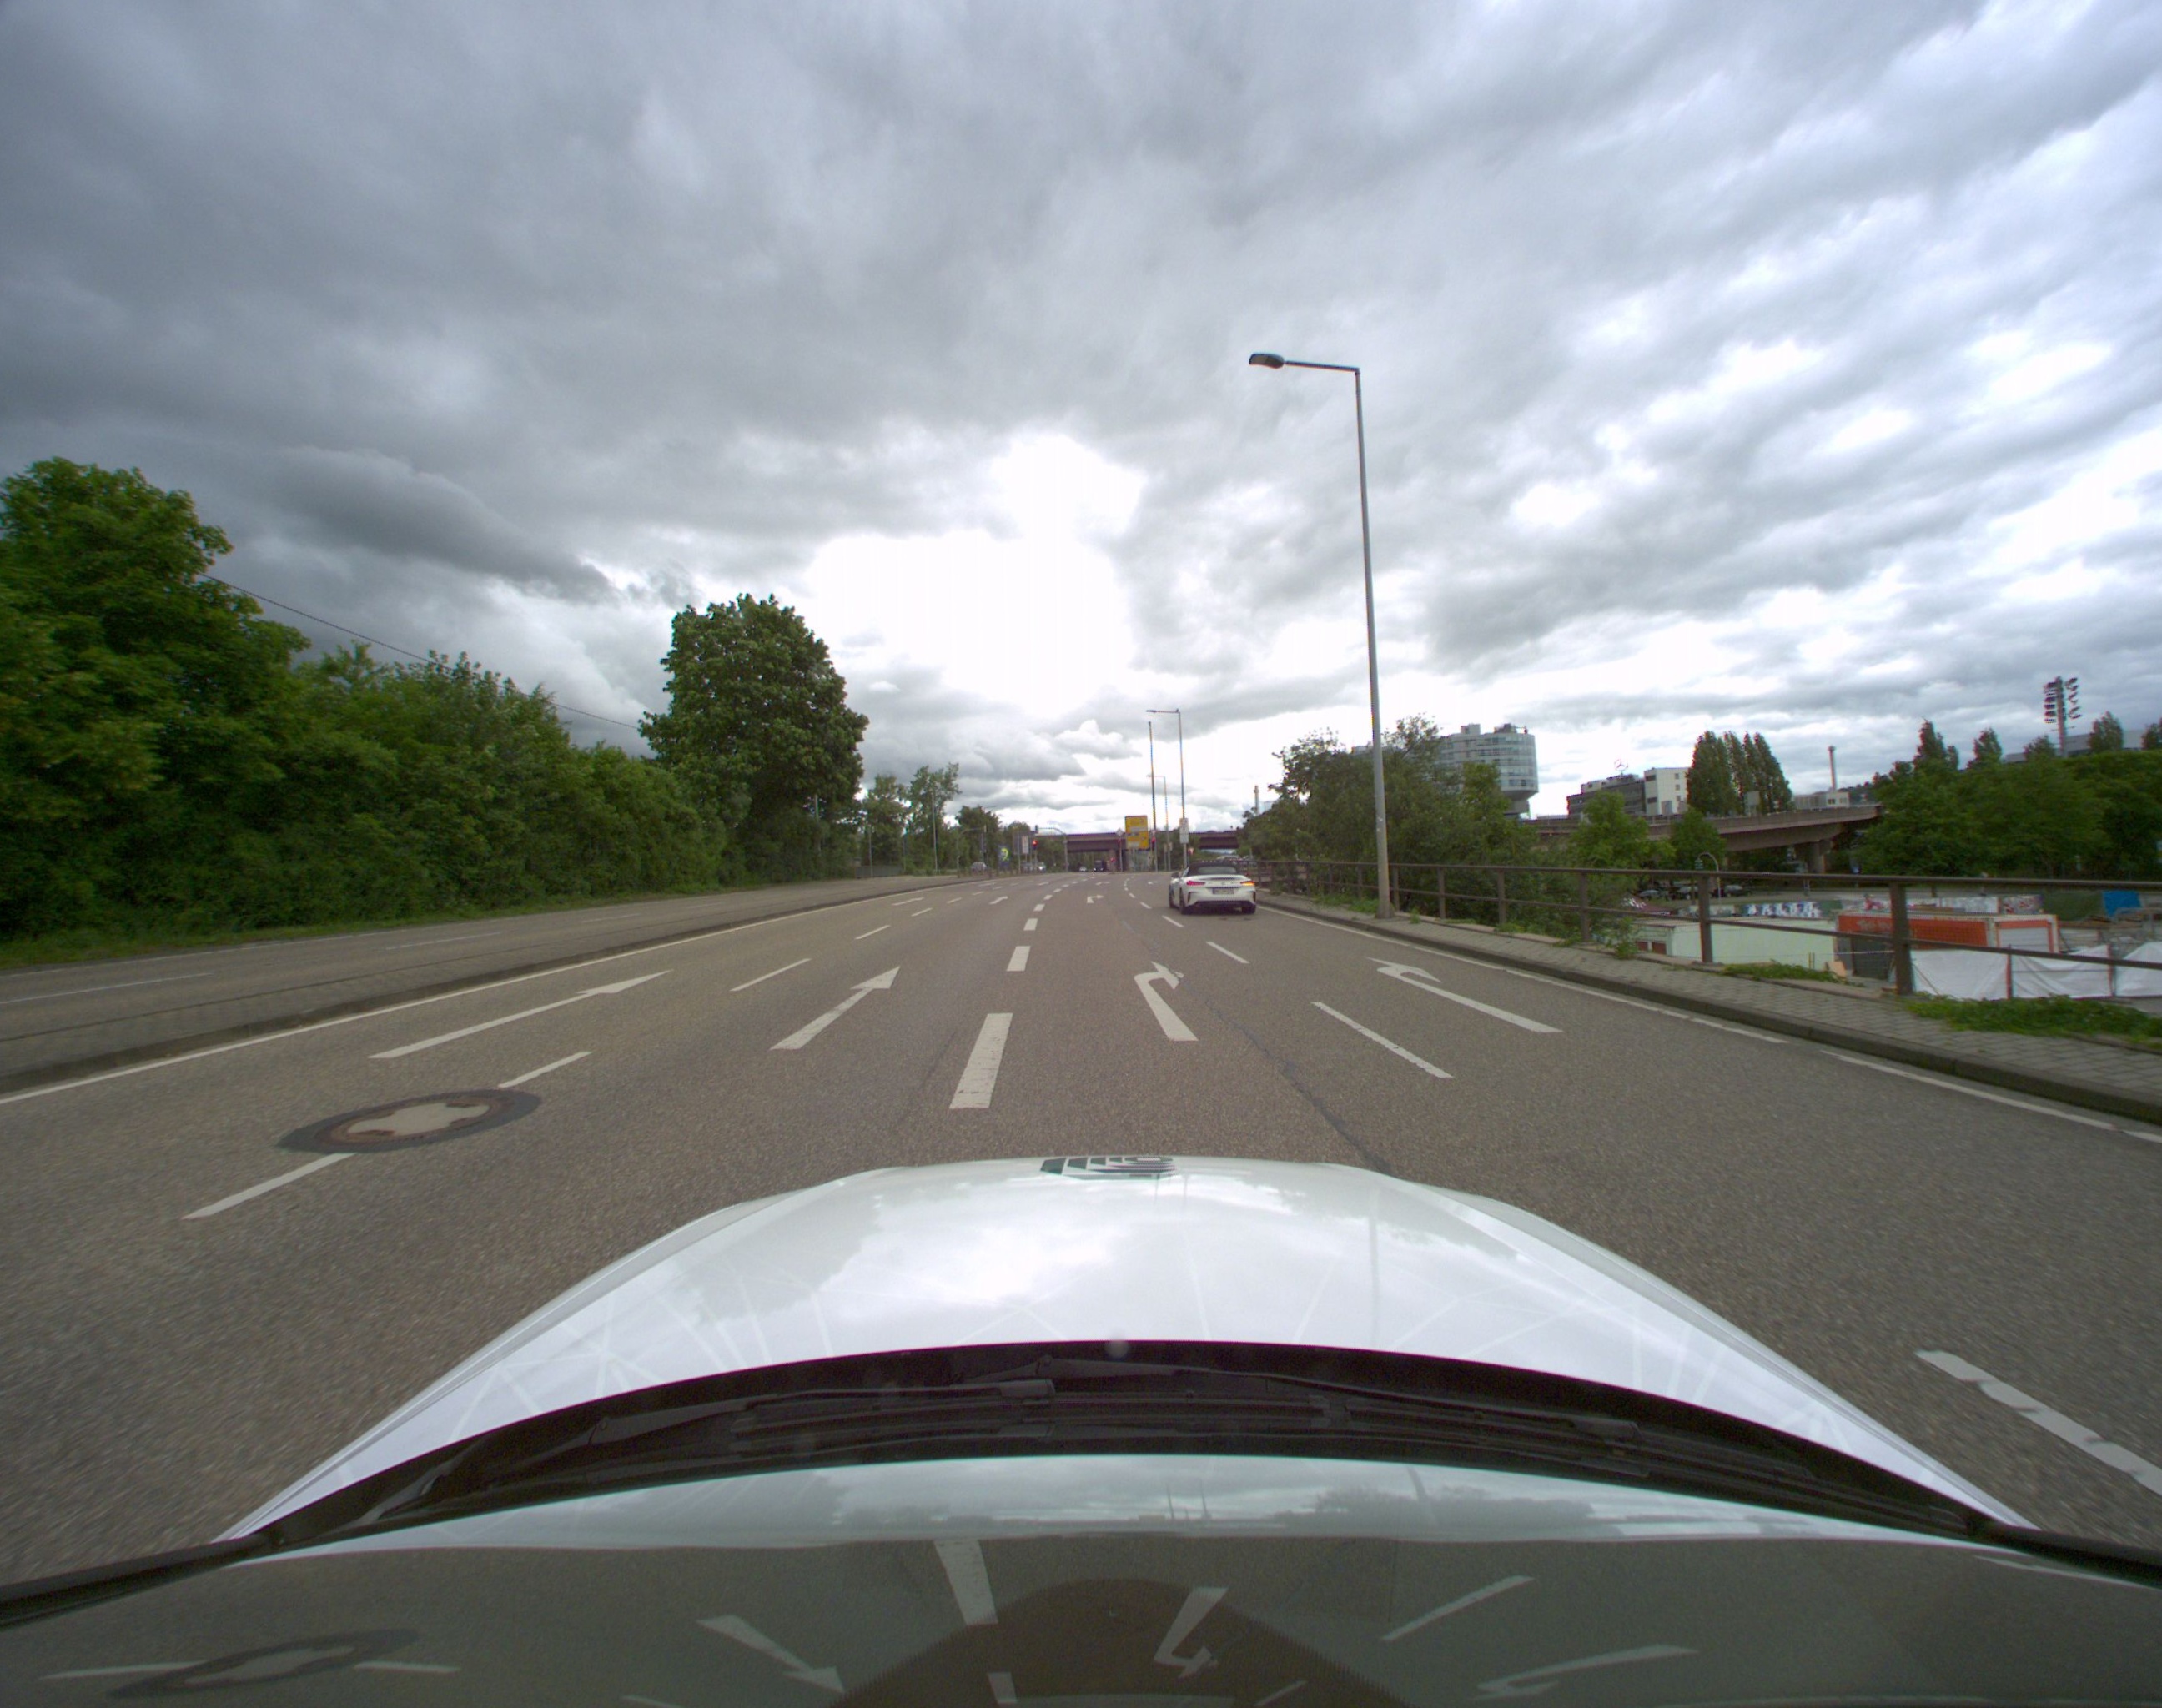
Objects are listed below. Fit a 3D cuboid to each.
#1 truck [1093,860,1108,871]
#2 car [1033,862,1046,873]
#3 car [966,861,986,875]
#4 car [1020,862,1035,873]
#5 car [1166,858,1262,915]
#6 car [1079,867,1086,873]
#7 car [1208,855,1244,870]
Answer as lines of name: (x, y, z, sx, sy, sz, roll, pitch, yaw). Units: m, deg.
truck: (5.834, 3.388, 237.266, 2.906, 3.146, 10.136, 0, -1, 9)
car: (-6.439, 2.065, 126.567, 1.765, 1.633, 3.825, 0, -1, 1)
car: (-12.054, 1.615, 94.063, 1.754, 1.485, 3.485, 0, -1, 2)
car: (-7.740, 1.935, 117.844, 1.765, 1.645, 3.825, 0, -1, 1)
car: (3.395, 0.821, 21.503, 1.869, 1.309, 3.872, -2, -1, 0)
car: (0.466, 4.078, 213.068, 1.734, 1.537, 3.673, -1, 0, 2)
car: (18.490, 1.111, 104.131, 4.351, 1.758, 2.002, -3, -3, 5)
